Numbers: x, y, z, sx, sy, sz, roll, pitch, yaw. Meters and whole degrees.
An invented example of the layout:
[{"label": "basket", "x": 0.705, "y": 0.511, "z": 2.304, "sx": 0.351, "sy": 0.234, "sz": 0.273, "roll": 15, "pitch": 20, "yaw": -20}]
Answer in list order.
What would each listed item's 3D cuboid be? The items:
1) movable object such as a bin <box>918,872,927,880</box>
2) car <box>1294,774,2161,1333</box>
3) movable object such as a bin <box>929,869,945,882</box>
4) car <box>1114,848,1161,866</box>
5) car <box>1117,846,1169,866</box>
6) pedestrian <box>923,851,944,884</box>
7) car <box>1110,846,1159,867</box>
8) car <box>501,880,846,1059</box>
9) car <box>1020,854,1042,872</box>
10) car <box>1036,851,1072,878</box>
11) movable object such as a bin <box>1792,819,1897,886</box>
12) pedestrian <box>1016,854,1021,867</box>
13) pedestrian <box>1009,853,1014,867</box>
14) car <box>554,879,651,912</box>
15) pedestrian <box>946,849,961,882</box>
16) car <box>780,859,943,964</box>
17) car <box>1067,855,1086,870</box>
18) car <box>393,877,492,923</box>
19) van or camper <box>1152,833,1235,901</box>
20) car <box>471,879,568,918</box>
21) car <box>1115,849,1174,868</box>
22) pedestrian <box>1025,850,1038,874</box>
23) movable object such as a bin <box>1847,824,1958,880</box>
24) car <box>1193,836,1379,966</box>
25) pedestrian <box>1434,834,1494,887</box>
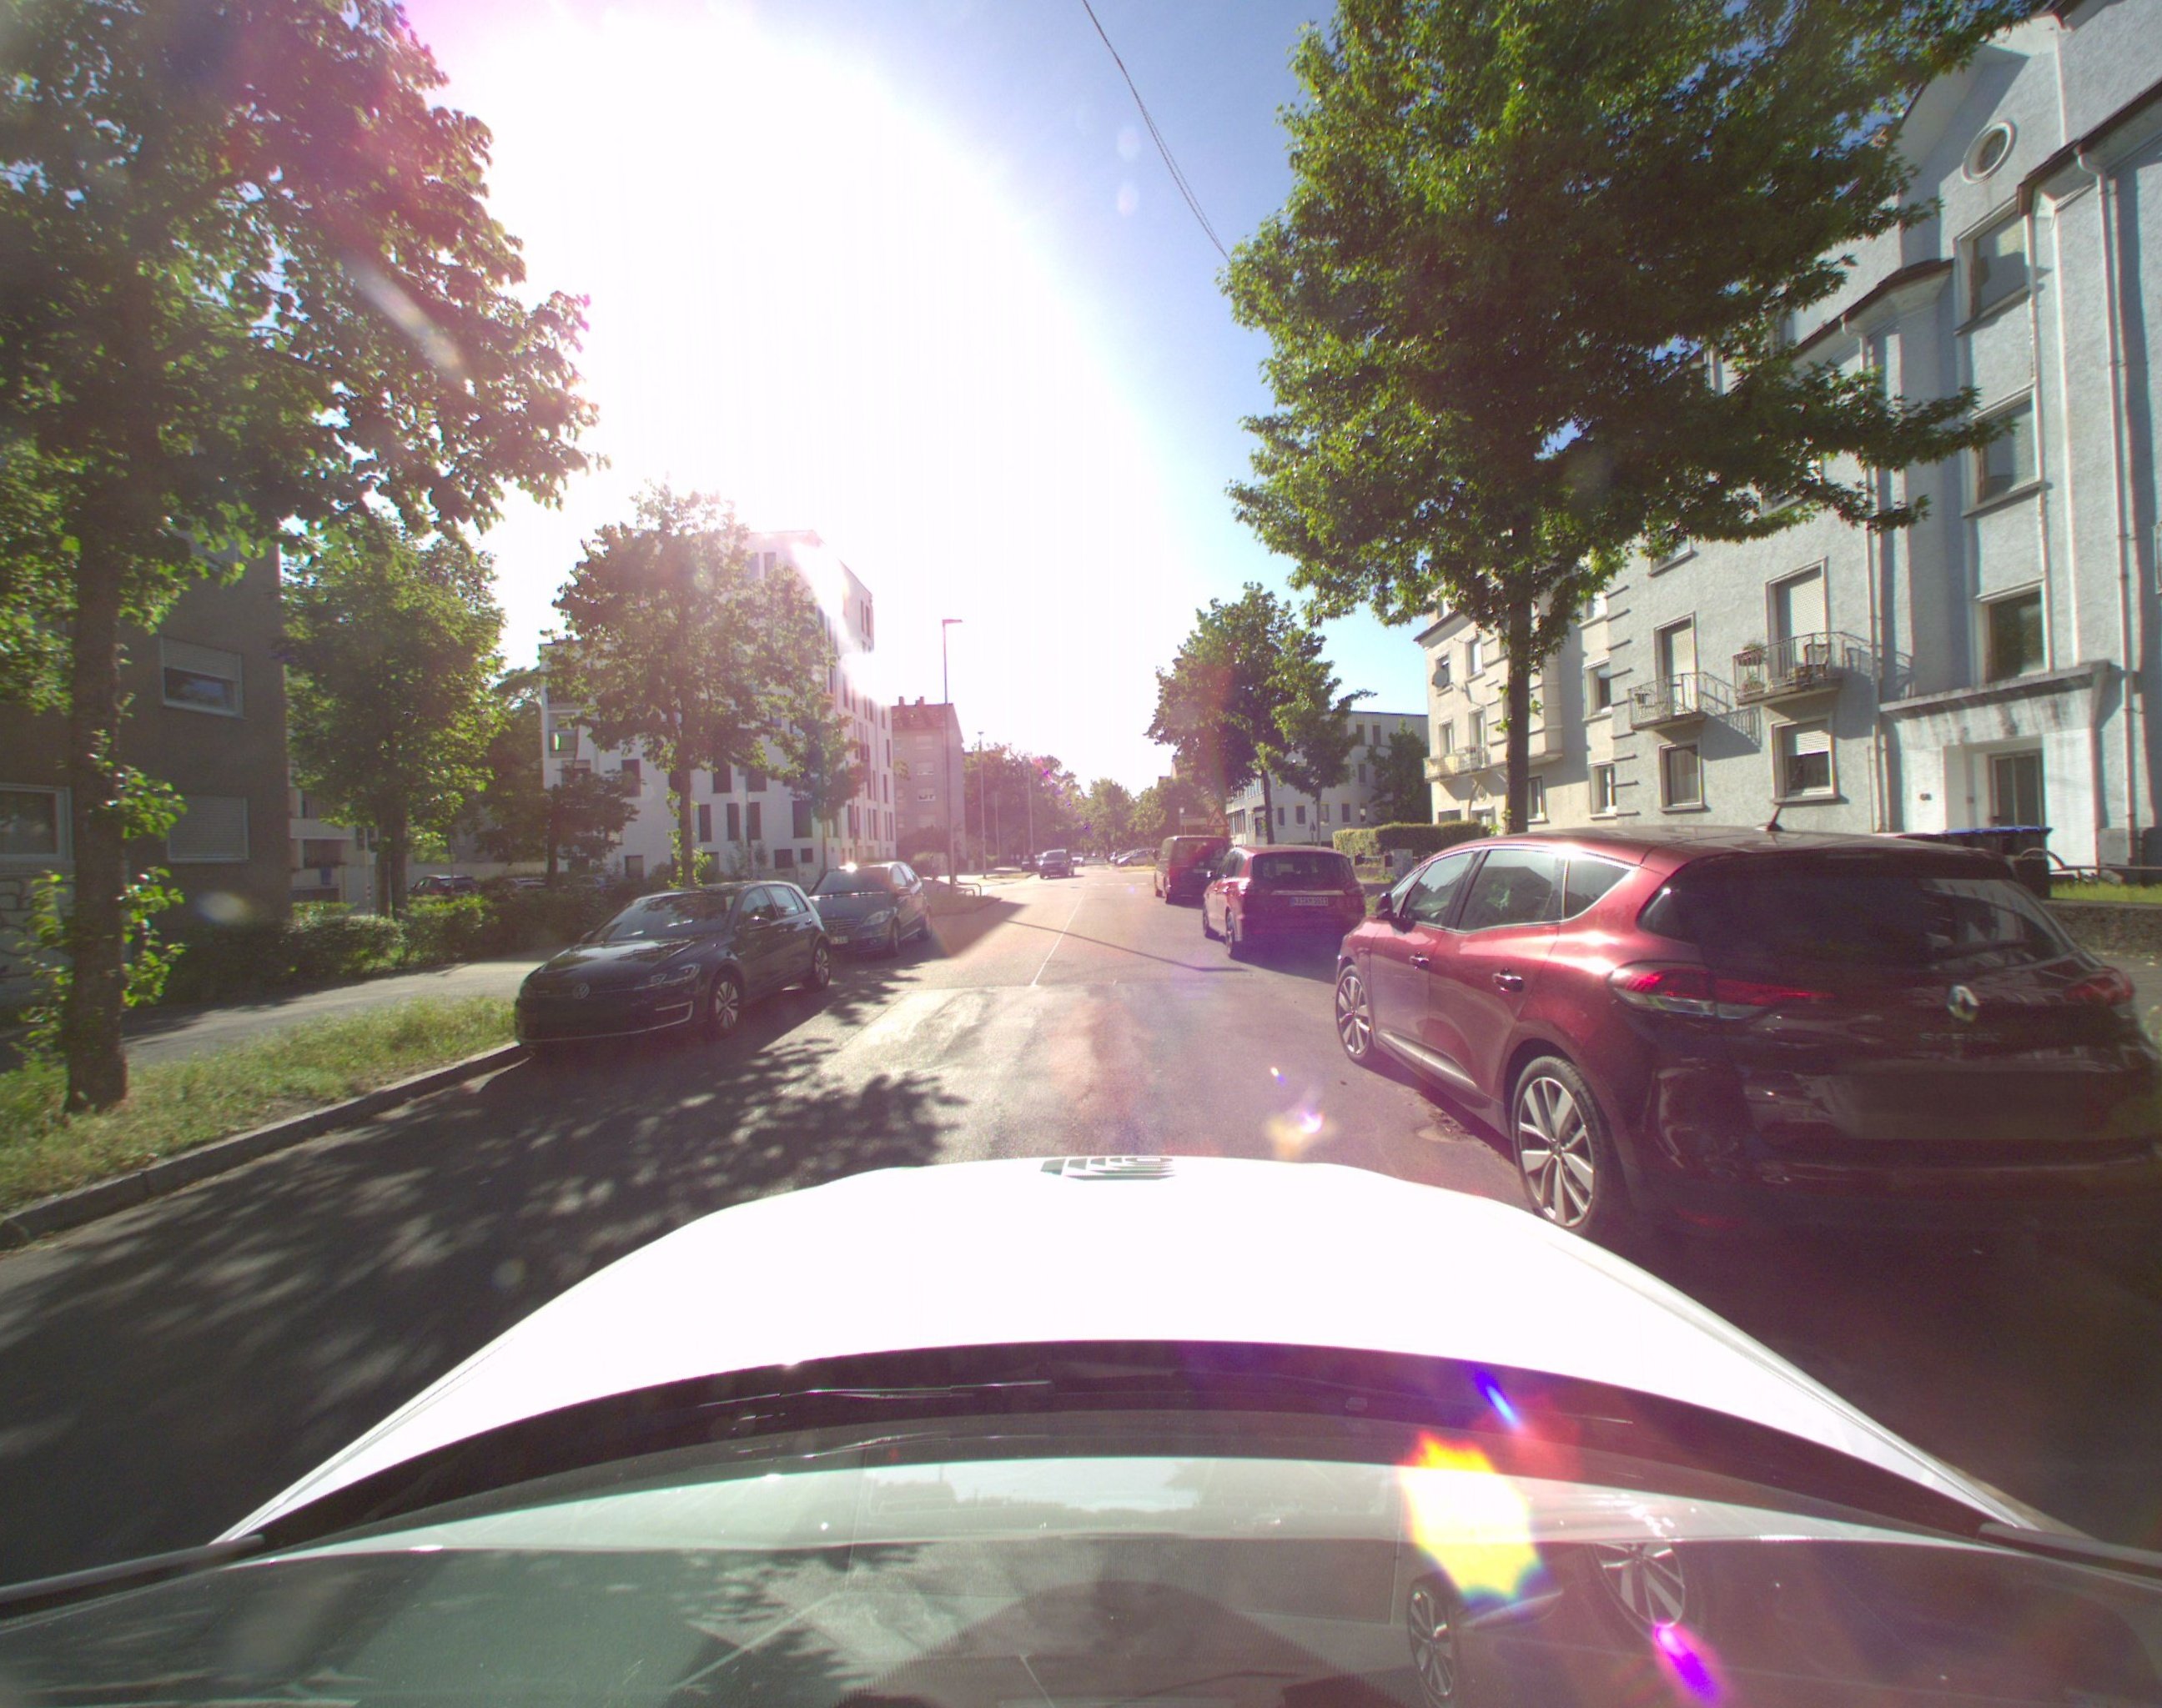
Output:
[{"label": "movable object such as a bin", "x": -10.511, "y": 1.446, "z": 53.976, "sx": 0.269, "sy": 0.541, "sz": 0.690, "roll": -2, "pitch": 0, "yaw": 22}, {"label": "car", "x": 2.780, "y": 0.607, "z": 4.745, "sx": 1.922, "sy": 1.567, "sz": 4.595, "roll": -4, "pitch": -1, "yaw": 2}, {"label": "movable object such as a bin", "x": -8.195, "y": 1.240, "z": 46.278, "sx": 0.269, "sy": 0.679, "sz": 0.854, "roll": -3, "pitch": 1, "yaw": 44}, {"label": "car", "x": 5.177, "y": 0.268, "z": 75.528, "sx": 4.191, "sy": 1.596, "sz": 1.999, "roll": 0, "pitch": -1, "yaw": -1}, {"label": "car", "x": 5.111, "y": 0.168, "z": 67.471, "sx": 4.078, "sy": 1.492, "sz": 1.727, "roll": -2, "pitch": -1, "yaw": -2}, {"label": "pedestrian", "x": -9.698, "y": 0.887, "z": 53.577, "sx": 0.766, "sy": 2.120, "sz": 0.964, "roll": -1, "pitch": 2, "yaw": 44}, {"label": "car", "x": 4.748, "y": 0.219, "z": 72.713, "sx": 4.267, "sy": 1.765, "sz": 1.999, "roll": 0, "pitch": -1, "yaw": -2}, {"label": "car", "x": -4.021, "y": 1.034, "z": 8.899, "sx": 1.654, "sy": 1.395, "sz": 4.092, "roll": 0, "pitch": 0, "yaw": 1}, {"label": "car", "x": -4.243, "y": 0.750, "z": 69.225, "sx": 1.662, "sy": 1.420, "sz": 3.998, "roll": 0, "pitch": -1, "yaw": -1}, {"label": "car", "x": -1.534, "y": 0.590, "z": 48.100, "sx": 1.730, "sy": 1.530, "sz": 4.117, "roll": 0, "pitch": -1, "yaw": 3}, {"label": "movable object such as a bin", "x": 12.183, "y": -0.019, "z": 13.034, "sx": 0.772, "sy": 1.026, "sz": 1.012, "roll": 0, "pitch": -1, "yaw": 6}, {"label": "pedestrian", "x": -8.086, "y": 0.802, "z": 105.595, "sx": 0.633, "sy": 1.664, "sz": 0.698, "roll": -3, "pitch": 0, "yaw": -4}, {"label": "pedestrian", "x": -8.722, "y": 0.779, "z": 102.147, "sx": 0.633, "sy": 1.664, "sz": 0.698, "roll": -3, "pitch": 0, "yaw": -4}, {"label": "car", "x": -20.918, "y": 1.766, "z": 35.538, "sx": 4.505, "sy": 1.167, "sz": 2.013, "roll": -1, "pitch": 2, "yaw": 37}, {"label": "pedestrian", "x": -7.342, "y": 0.638, "z": 46.989, "sx": 0.843, "sy": 1.885, "sz": 0.789, "roll": 0, "pitch": -1, "yaw": -9}, {"label": "car", "x": -3.827, "y": 0.932, "z": 14.960, "sx": 1.714, "sy": 1.562, "sz": 4.109, "roll": -3, "pitch": -1, "yaw": 1}, {"label": "car", "x": -0.434, "y": 0.870, "z": 85.301, "sx": 1.879, "sy": 1.504, "sz": 4.638, "roll": 0, "pitch": 0, "yaw": 0}, {"label": "car", "x": -26.242, "y": 1.830, "z": 33.447, "sx": 3.948, "sy": 1.651, "sz": 2.013, "roll": -1, "pitch": 2, "yaw": 34}, {"label": "van or camper", "x": 3.359, "y": 0.389, "z": 25.314, "sx": 1.982, "sy": 1.863, "sz": 5.389, "roll": 0, "pitch": -1, "yaw": 2}, {"label": "car", "x": -24.068, "y": 1.885, "z": 34.831, "sx": 4.505, "sy": 1.431, "sz": 2.013, "roll": -3, "pitch": 0, "yaw": 37}, {"label": "car", "x": 5.384, "y": 0.387, "z": 69.506, "sx": 4.859, "sy": 1.274, "sz": 1.727, "roll": -3, "pitch": -1, "yaw": -3}, {"label": "pedestrian", "x": -3.504, "y": 0.564, "z": 57.880, "sx": 0.868, "sy": 1.714, "sz": 0.978, "roll": -3, "pitch": 0, "yaw": -2}, {"label": "movable object such as a bin", "x": 13.022, "y": -0.025, "z": 12.948, "sx": 0.771, "sy": 0.863, "sz": 1.012, "roll": 0, "pitch": -1, "yaw": 7}, {"label": "car", "x": 2.967, "y": 0.625, "z": 12.939, "sx": 1.891, "sy": 1.613, "sz": 4.976, "roll": -2, "pitch": -1, "yaw": 3}, {"label": "pedestrian", "x": 9.516, "y": 0.172, "z": 20.267, "sx": 1.078, "sy": 1.295, "sz": 0.819, "roll": 0, "pitch": -1, "yaw": 0}]
